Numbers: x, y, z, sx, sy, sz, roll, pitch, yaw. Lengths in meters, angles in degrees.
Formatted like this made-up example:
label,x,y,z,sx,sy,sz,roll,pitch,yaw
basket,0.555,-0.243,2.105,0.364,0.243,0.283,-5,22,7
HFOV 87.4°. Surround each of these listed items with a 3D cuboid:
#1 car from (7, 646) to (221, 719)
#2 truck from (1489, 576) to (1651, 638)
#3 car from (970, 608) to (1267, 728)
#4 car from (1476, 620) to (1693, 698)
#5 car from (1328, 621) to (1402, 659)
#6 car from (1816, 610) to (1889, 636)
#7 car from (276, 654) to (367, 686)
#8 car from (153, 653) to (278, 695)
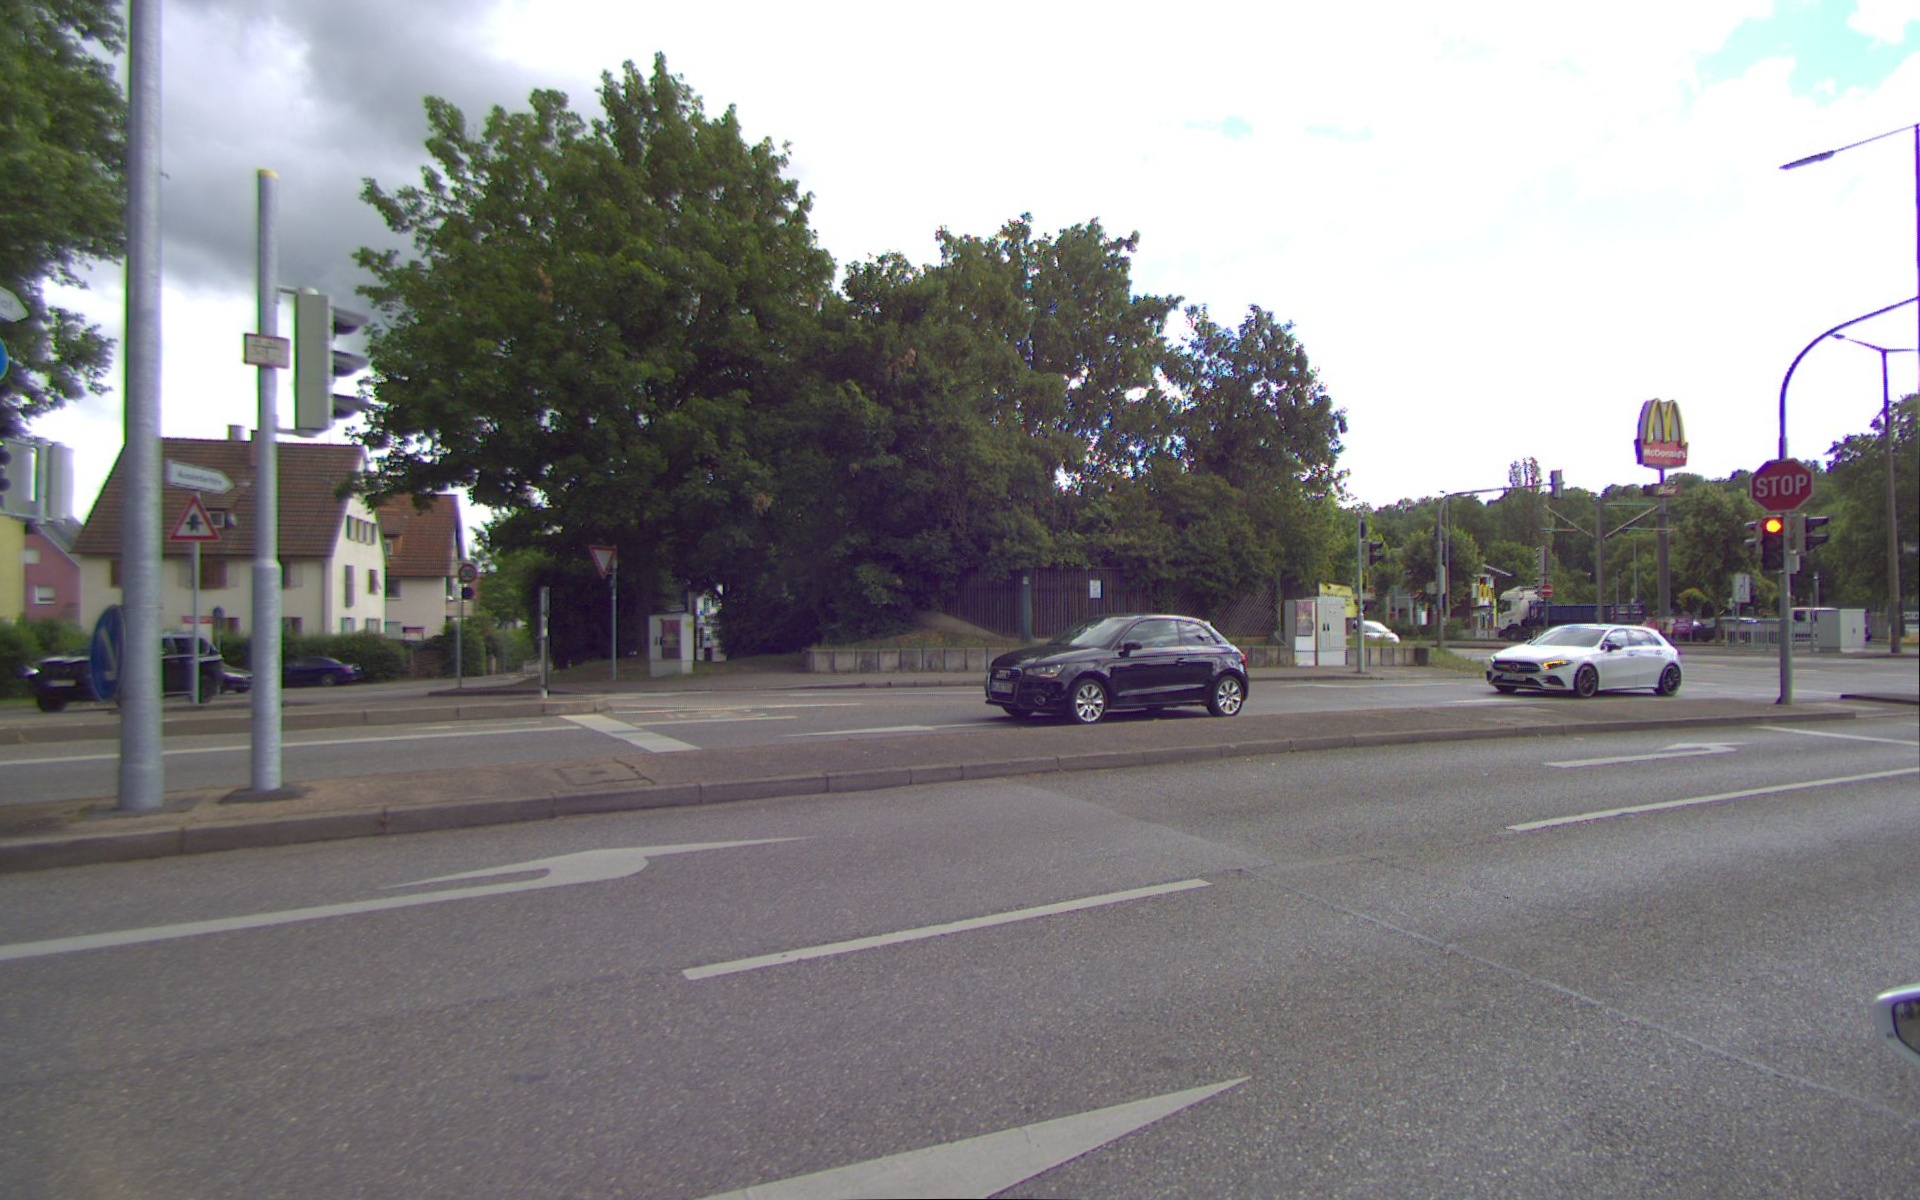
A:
label,x,y,z,sx,sy,sz,roll,pitch,yaw
car,-20.231,1.917,24.305,1.963,1.566,4.265,0,-2,-8
truck,39.123,0.596,64.956,3.168,3.634,9.096,1,-2,-18
car,2.196,0.837,13.659,3.849,1.435,1.609,0,-1,-30
car,12.600,1.126,20.242,4.231,1.424,1.597,0,-1,-23
car,18.045,1.755,44.852,1.637,1.595,3.020,0,-1,-12
car,72.360,1.887,81.517,1.974,2.040,3.974,1,-2,-26
car,-30.778,3.354,48.488,3.382,1.427,1.543,0,-1,-14
car,-30.311,3.006,40.986,3.665,1.585,1.761,0,-1,-10
